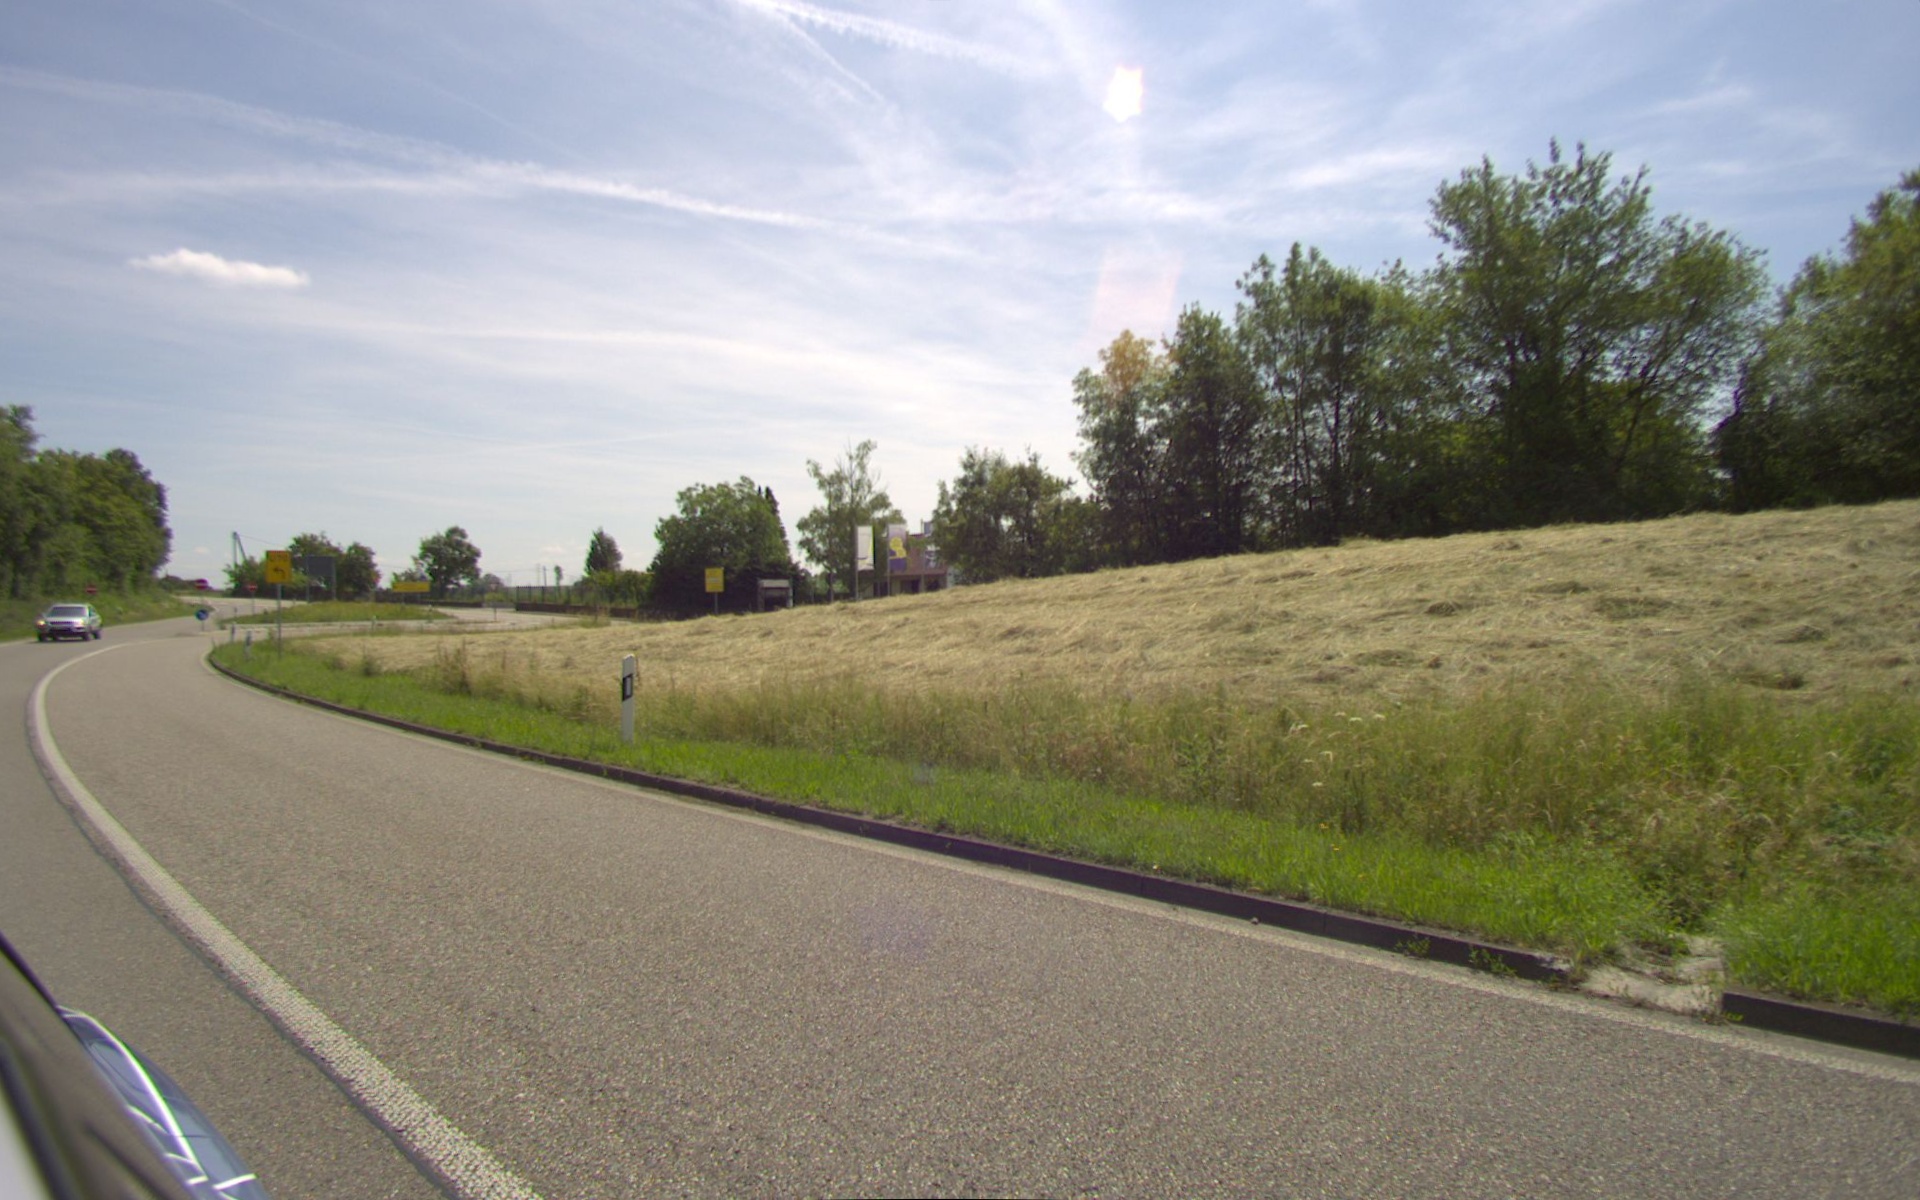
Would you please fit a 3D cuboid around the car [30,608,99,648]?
[{"bbox_3d":[-40.979,1.258,46.401,1.819,1.721,4.100,0,0,-34],"label":"car"}]
